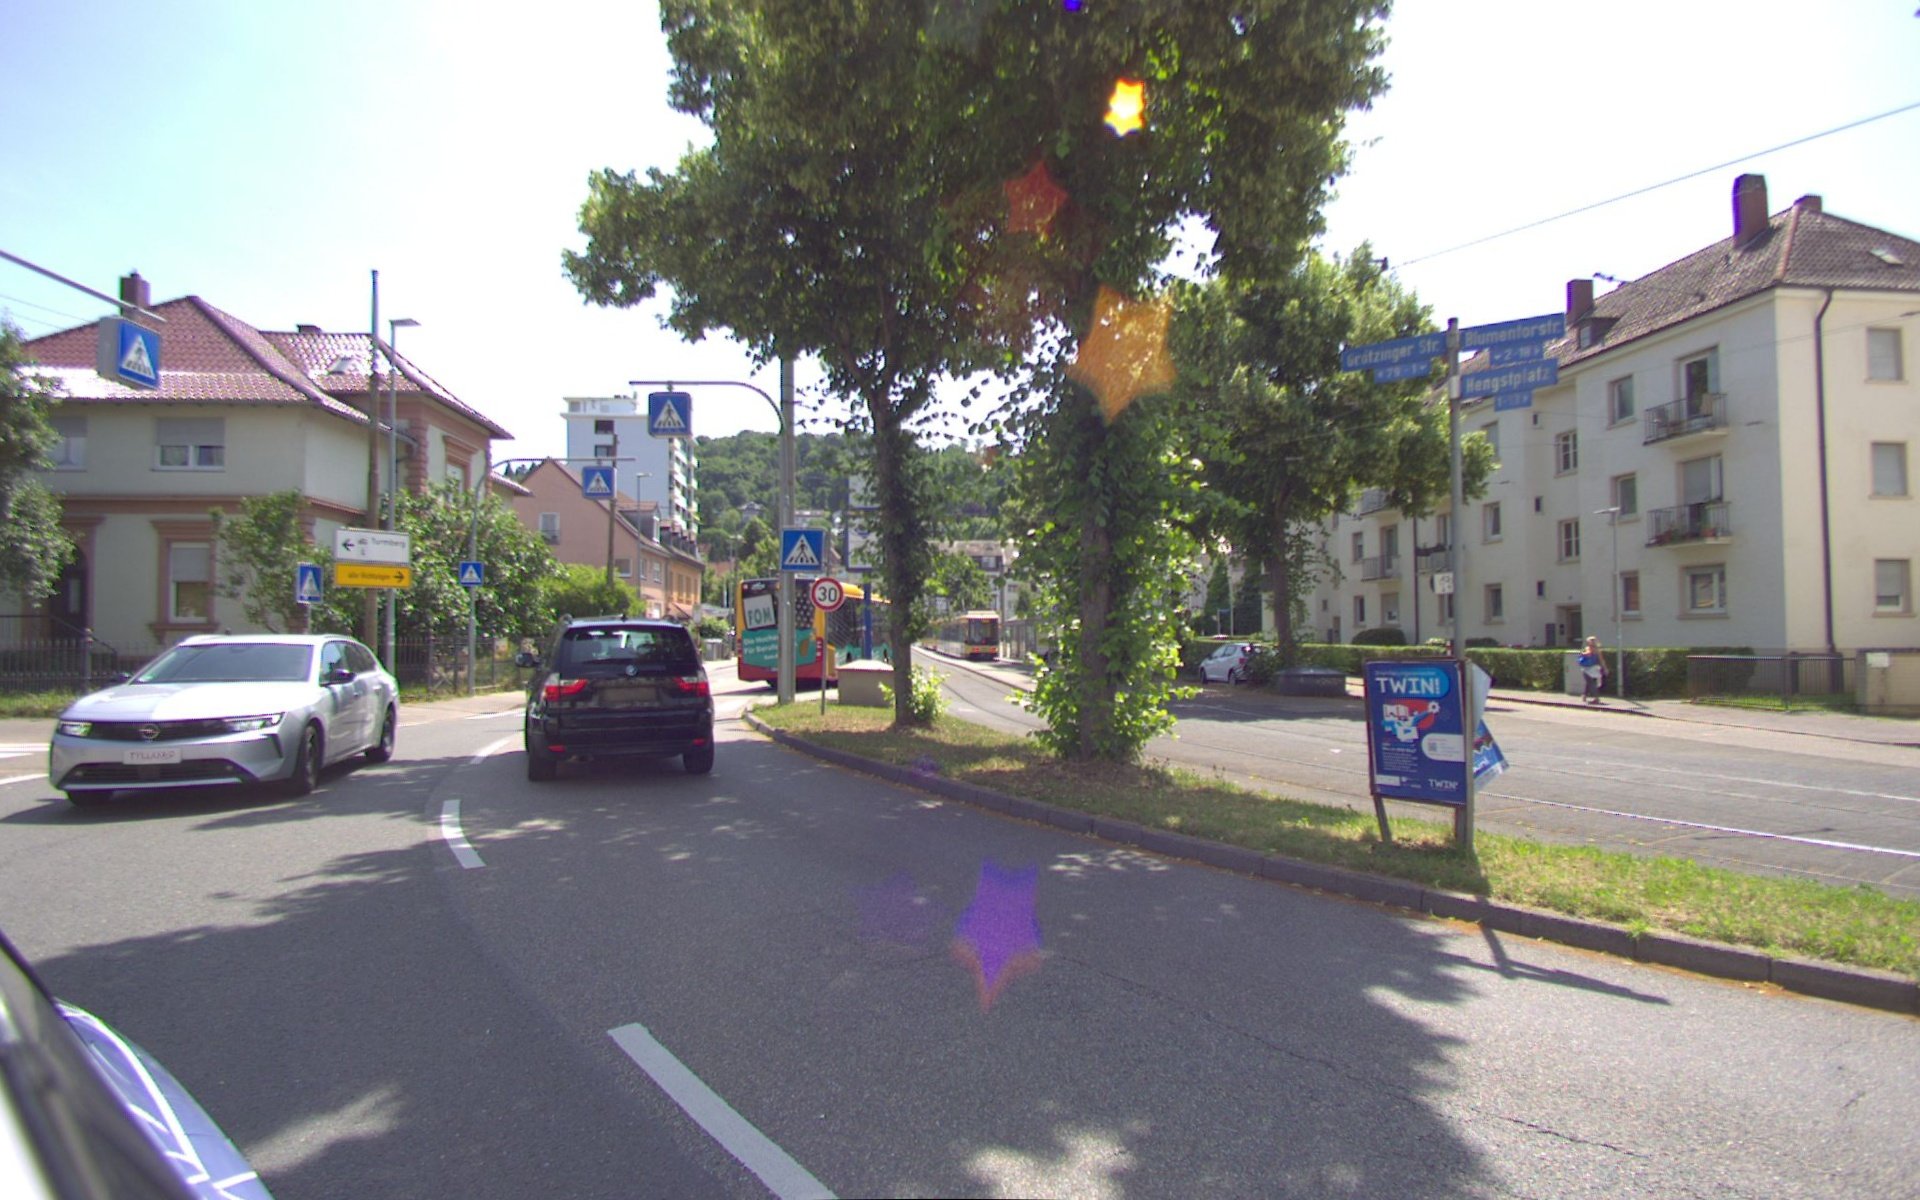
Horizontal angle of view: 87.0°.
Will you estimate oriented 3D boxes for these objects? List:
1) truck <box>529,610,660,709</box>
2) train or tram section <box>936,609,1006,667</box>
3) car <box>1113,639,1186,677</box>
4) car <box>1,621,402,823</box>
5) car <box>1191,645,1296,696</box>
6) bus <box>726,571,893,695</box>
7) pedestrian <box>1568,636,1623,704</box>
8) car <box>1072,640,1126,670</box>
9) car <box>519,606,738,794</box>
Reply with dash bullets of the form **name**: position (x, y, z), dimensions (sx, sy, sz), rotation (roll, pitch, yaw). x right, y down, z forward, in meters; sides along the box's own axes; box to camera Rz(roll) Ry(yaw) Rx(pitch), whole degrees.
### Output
- **truck**: position (-9.583, 1.558, 27.005), dimensions (1.990, 2.266, 5.414), rotation (-2, -3, -6)
- **train or tram section**: position (0.546, 2.606, 70.254), dimensions (2.853, 3.547, 13.924), rotation (-1, -2, -7)
- **car**: position (8.001, 2.432, 43.134), dimensions (1.816, 1.494, 4.264), rotation (0, -2, -7)
- **car**: position (-6.925, 1.014, 9.843), dimensions (1.772, 1.477, 4.183), rotation (-1, -3, -16)
- **car**: position (8.956, 2.195, 32.349), dimensions (1.816, 1.494, 3.961), rotation (0, -2, -7)
- **bus**: position (-4.441, 1.135, 32.775), dimensions (2.675, 3.322, 10.836), rotation (-1, -3, 6)
- **pedestrian**: position (15.195, 1.662, 24.213), dimensions (0.765, 1.572, 0.745), rotation (-1, -2, -7)
- **car**: position (7.154, 2.827, 52.554), dimensions (1.816, 1.494, 3.878), rotation (0, -2, -7)
- **car**: position (-3.860, 0.976, 11.256), dimensions (1.830, 1.644, 4.342), rotation (2, -3, -24)
